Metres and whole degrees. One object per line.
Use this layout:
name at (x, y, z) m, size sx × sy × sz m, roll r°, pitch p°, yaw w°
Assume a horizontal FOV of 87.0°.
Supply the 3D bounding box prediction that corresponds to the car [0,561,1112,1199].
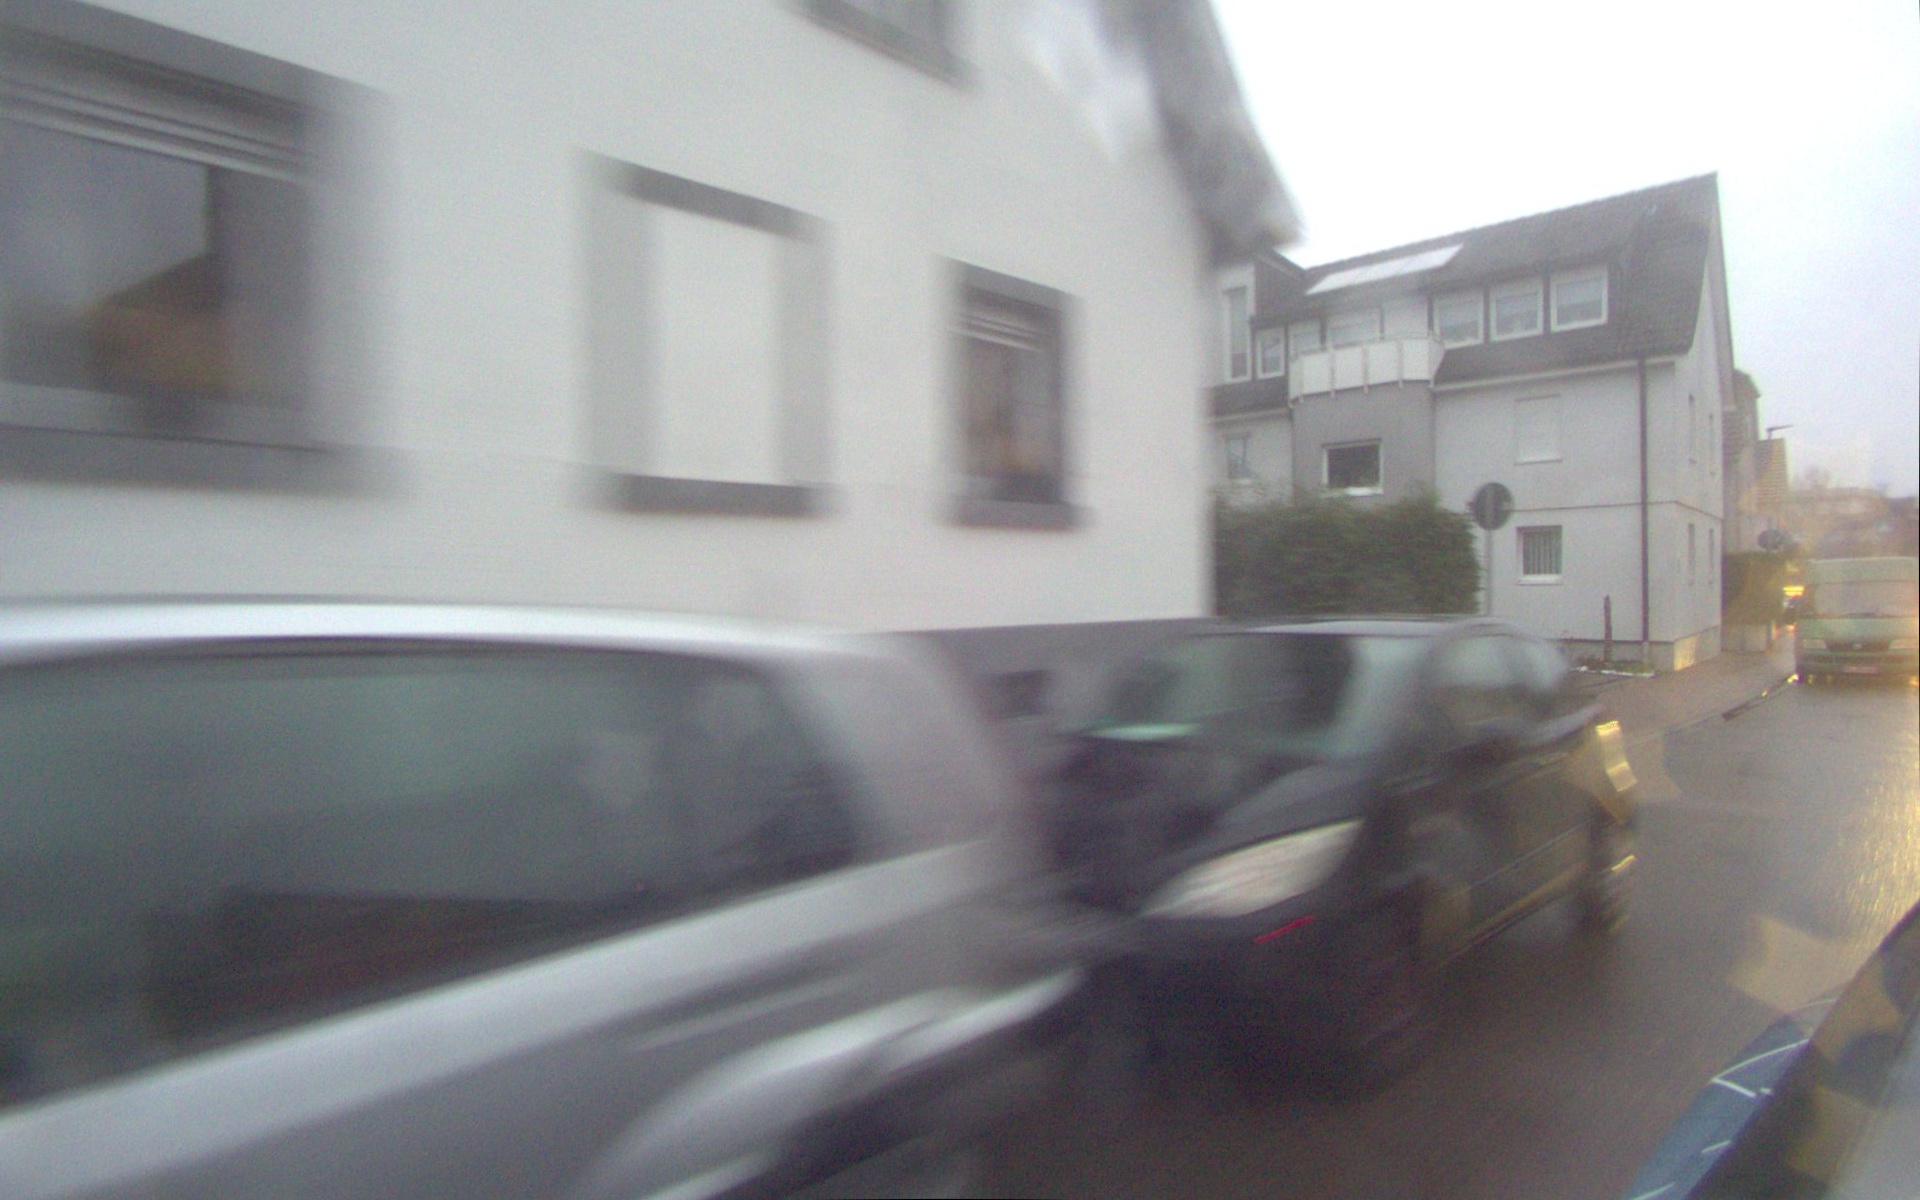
car at (-1.666, 0.748, 1.342) m, size 3.934 × 1.513 × 1.638 m, roll 0°, pitch -2°, yaw -44°

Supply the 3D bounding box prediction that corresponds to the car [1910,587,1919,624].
car at (42.858, 0.205, 43.914) m, size 1.982 × 1.578 × 4.177 m, roll -2°, pitch -1°, yaw 38°

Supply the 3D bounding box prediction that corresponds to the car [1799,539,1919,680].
car at (18.510, 0.168, 20.252) m, size 5.522 × 2.485 × 2.010 m, roll 0°, pitch -2°, yaw -44°

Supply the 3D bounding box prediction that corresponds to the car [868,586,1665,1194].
car at (1.651, 0.722, 4.471) m, size 3.934 × 1.490 × 1.638 m, roll 0°, pitch -2°, yaw -44°
